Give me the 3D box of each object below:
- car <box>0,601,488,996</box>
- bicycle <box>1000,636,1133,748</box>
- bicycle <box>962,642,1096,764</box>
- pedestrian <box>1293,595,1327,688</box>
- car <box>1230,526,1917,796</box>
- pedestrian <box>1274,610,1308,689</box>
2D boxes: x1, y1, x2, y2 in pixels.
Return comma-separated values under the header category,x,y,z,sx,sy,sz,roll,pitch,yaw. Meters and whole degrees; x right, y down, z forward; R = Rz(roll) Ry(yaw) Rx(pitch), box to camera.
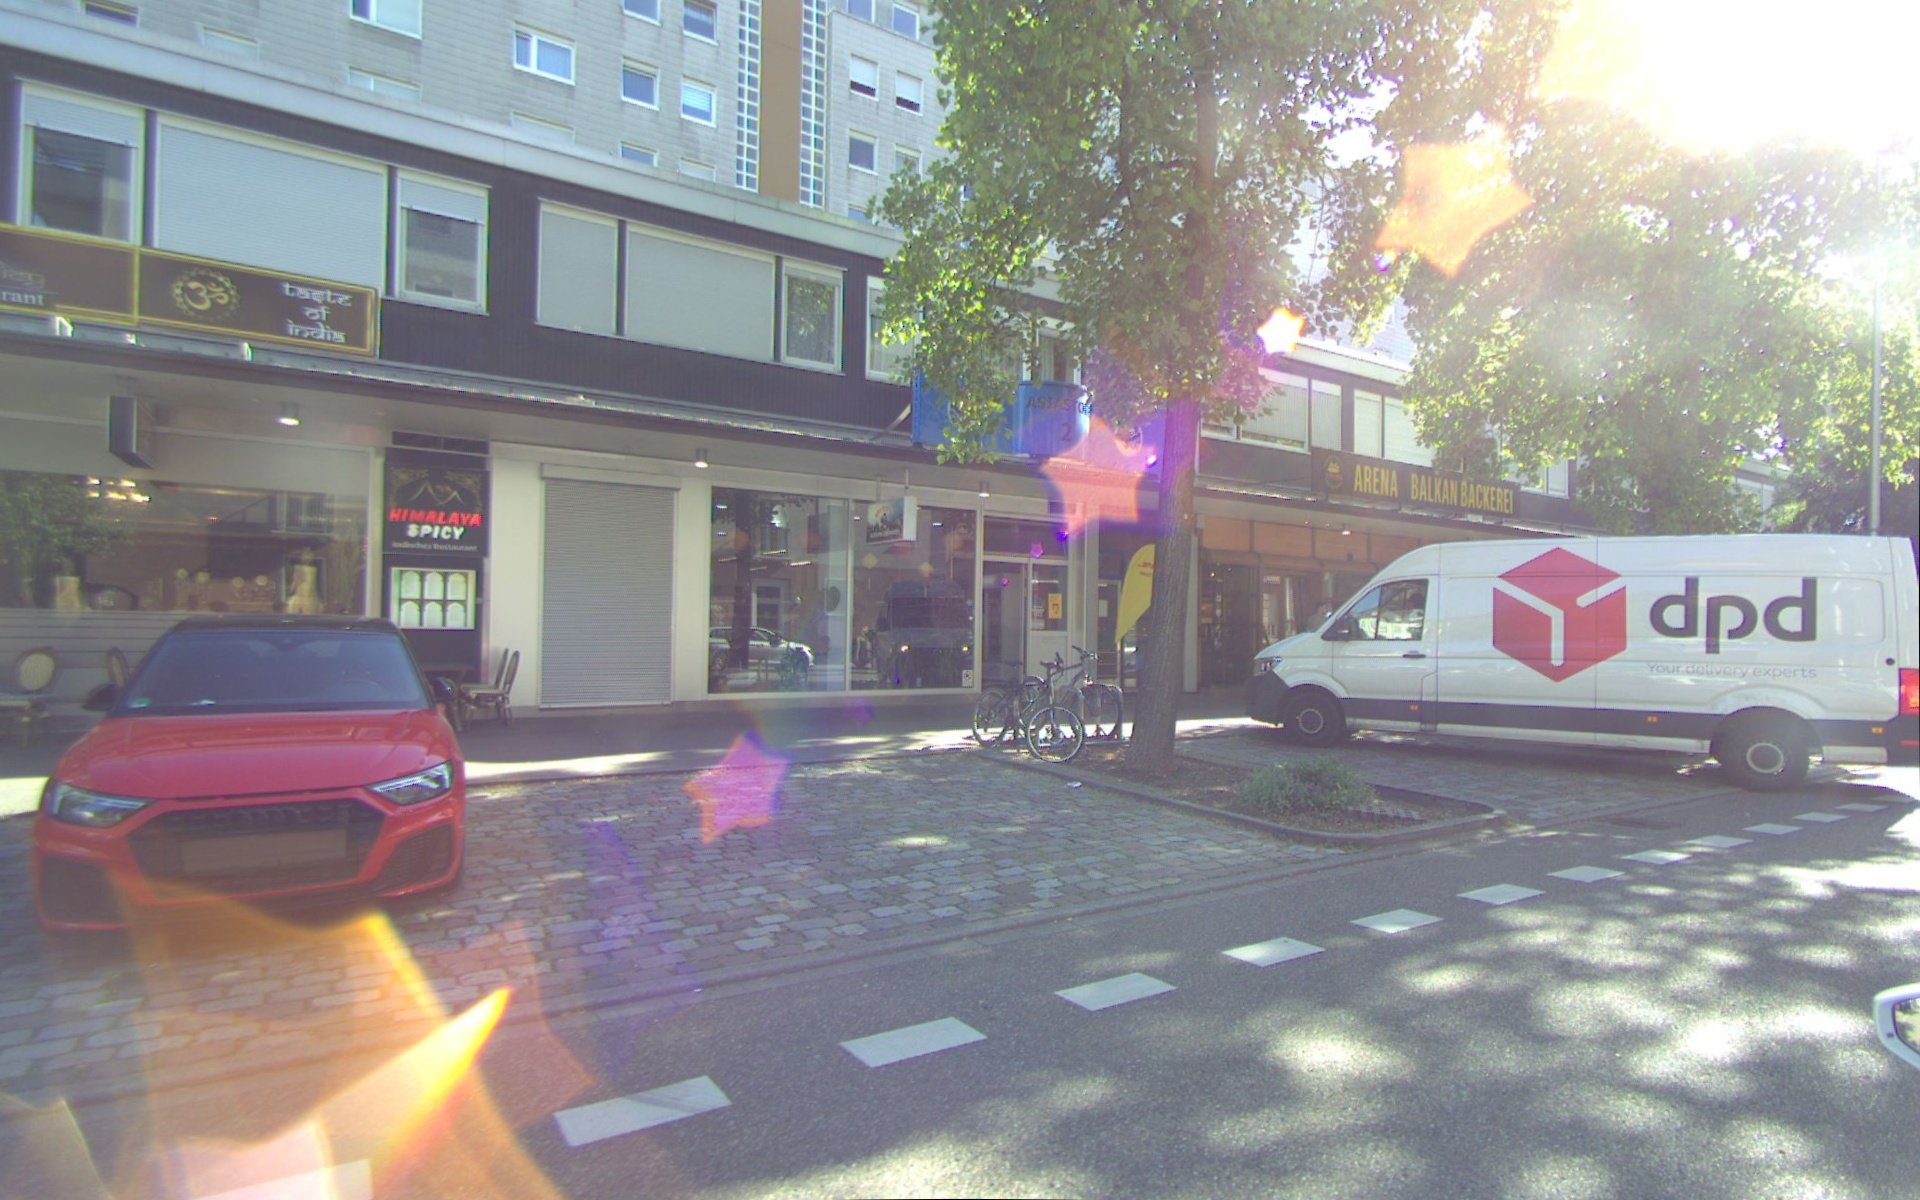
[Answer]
category,x,y,z,sx,sy,sz,roll,pitch,yaw
car,-3.934,0.787,5.968,1.690,1.470,3.898,2,0,-30
bicycle,1.231,1.053,12.022,0.579,1.121,1.860,2,1,-29
bicycle,0.716,1.084,11.039,0.615,1.132,1.711,2,1,-29
pedestrian,6.878,0.815,19.738,0.423,1.805,0.481,2,-2,-35
car,6.732,0.587,11.971,6.491,2.506,1.995,0,-1,33
pedestrian,6.395,0.953,19.410,0.416,1.492,0.465,2,-2,-35
